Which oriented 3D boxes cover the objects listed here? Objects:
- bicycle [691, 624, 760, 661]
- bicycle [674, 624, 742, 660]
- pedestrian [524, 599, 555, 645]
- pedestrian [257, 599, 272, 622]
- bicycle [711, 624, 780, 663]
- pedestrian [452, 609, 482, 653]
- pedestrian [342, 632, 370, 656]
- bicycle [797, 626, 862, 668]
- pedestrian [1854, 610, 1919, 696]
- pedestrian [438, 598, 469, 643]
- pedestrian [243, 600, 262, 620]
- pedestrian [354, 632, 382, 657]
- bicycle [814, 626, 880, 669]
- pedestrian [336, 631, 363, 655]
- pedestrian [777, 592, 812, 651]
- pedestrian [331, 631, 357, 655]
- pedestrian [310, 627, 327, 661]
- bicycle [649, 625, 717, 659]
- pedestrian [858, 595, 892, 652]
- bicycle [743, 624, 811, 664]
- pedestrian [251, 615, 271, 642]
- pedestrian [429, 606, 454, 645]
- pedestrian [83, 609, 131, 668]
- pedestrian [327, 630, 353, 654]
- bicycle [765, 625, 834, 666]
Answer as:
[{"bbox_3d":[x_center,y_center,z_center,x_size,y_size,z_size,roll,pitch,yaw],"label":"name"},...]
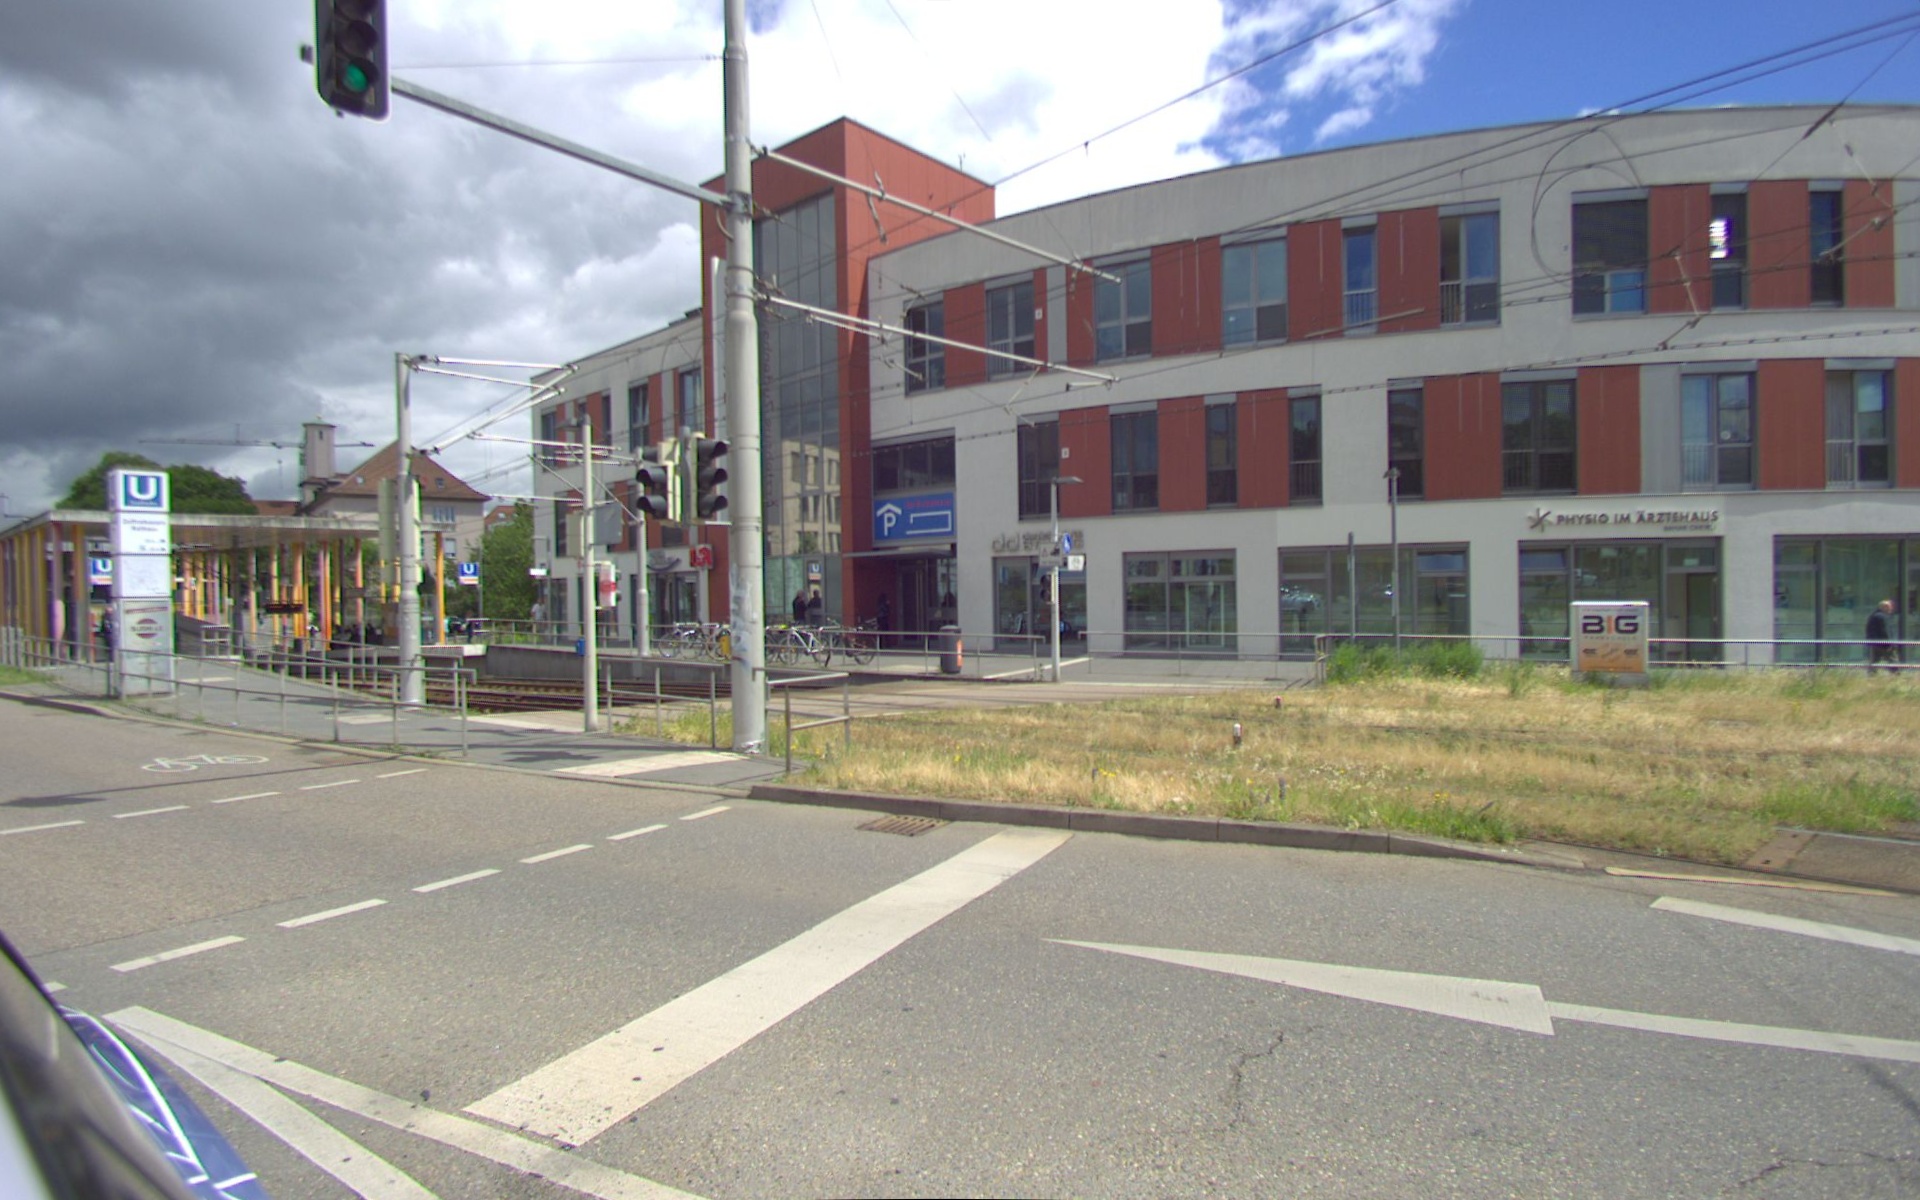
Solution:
[{"bbox_3d":[-6.372,1.152,27.588,1.835,0.929,0.455,0,0,-42],"label":"bicycle"},{"bbox_3d":[-6.985,1.156,28.147,1.835,0.939,0.455,0,0,-41],"label":"bicycle"},{"bbox_3d":[-18.343,0.965,44.095,1.106,1.983,0.852,0,-1,43],"label":"pedestrian"},{"bbox_3d":[-63.399,0.973,92.256,1.108,2.029,1.664,0,-1,-36],"label":"pedestrian"},{"bbox_3d":[-5.700,1.139,26.989,1.836,0.946,0.455,0,0,-45],"label":"bicycle"},{"bbox_3d":[-22.561,1.390,46.301,1.105,1.983,0.853,0,-1,39],"label":"pedestrian"},{"bbox_3d":[-29.401,2.132,49.272,0.886,1.143,0.931,-2,-1,42],"label":"pedestrian"},{"bbox_3d":[-3.227,1.139,25.079,0.428,0.965,1.716,-1,0,43],"label":"bicycle"},{"bbox_3d":[17.612,0.996,19.174,0.683,1.592,0.734,-1,-1,7],"label":"pedestrian"},{"bbox_3d":[-22.948,0.921,45.881,1.105,1.983,0.853,0,-1,39],"label":"pedestrian"},{"bbox_3d":[-72.208,1.013,103.304,1.429,2.029,1.972,1,-1,-31],"label":"pedestrian"},{"bbox_3d":[-28.552,2.132,48.798,0.886,1.143,0.931,-2,-1,42],"label":"pedestrian"},{"bbox_3d":[-2.740,1.140,24.676,0.428,0.959,1.716,-1,0,43],"label":"bicycle"},{"bbox_3d":[-30.118,2.134,49.907,0.886,1.143,0.931,-2,-1,42],"label":"pedestrian"},{"bbox_3d":[-5.315,0.666,32.486,0.856,1.859,0.876,0,1,13],"label":"pedestrian"},{"bbox_3d":[-30.808,2.138,50.625,0.886,1.143,0.931,-2,-1,42],"label":"pedestrian"},{"bbox_3d":[-38.421,2.620,60.636,0.773,2.029,0.610,-2,-1,34],"label":"pedestrian"},{"bbox_3d":[-7.878,1.192,28.835,1.834,0.888,0.455,0,0,-41],"label":"bicycle"},{"bbox_3d":[-2.613,0.727,30.993,0.920,1.711,0.791,1,-1,-15],"label":"pedestrian"},{"bbox_3d":[-4.742,1.128,26.341,0.454,0.970,1.837,-1,0,43],"label":"bicycle"},{"bbox_3d":[-52.898,2.138,76.569,1.112,2.029,1.180,0,-2,-44],"label":"pedestrian"},{"bbox_3d":[-27.110,1.324,52.947,0.852,1.983,1.107,1,-1,-44],"label":"pedestrian"},{"bbox_3d":[-28.271,1.261,33.542,0.864,1.929,1.090,0,-1,42],"label":"pedestrian"},{"bbox_3d":[-31.456,2.124,51.324,0.886,1.143,0.931,-2,-1,42],"label":"pedestrian"},{"bbox_3d":[-4.058,1.139,25.705,0.454,0.942,1.837,-1,0,43],"label":"bicycle"}]
